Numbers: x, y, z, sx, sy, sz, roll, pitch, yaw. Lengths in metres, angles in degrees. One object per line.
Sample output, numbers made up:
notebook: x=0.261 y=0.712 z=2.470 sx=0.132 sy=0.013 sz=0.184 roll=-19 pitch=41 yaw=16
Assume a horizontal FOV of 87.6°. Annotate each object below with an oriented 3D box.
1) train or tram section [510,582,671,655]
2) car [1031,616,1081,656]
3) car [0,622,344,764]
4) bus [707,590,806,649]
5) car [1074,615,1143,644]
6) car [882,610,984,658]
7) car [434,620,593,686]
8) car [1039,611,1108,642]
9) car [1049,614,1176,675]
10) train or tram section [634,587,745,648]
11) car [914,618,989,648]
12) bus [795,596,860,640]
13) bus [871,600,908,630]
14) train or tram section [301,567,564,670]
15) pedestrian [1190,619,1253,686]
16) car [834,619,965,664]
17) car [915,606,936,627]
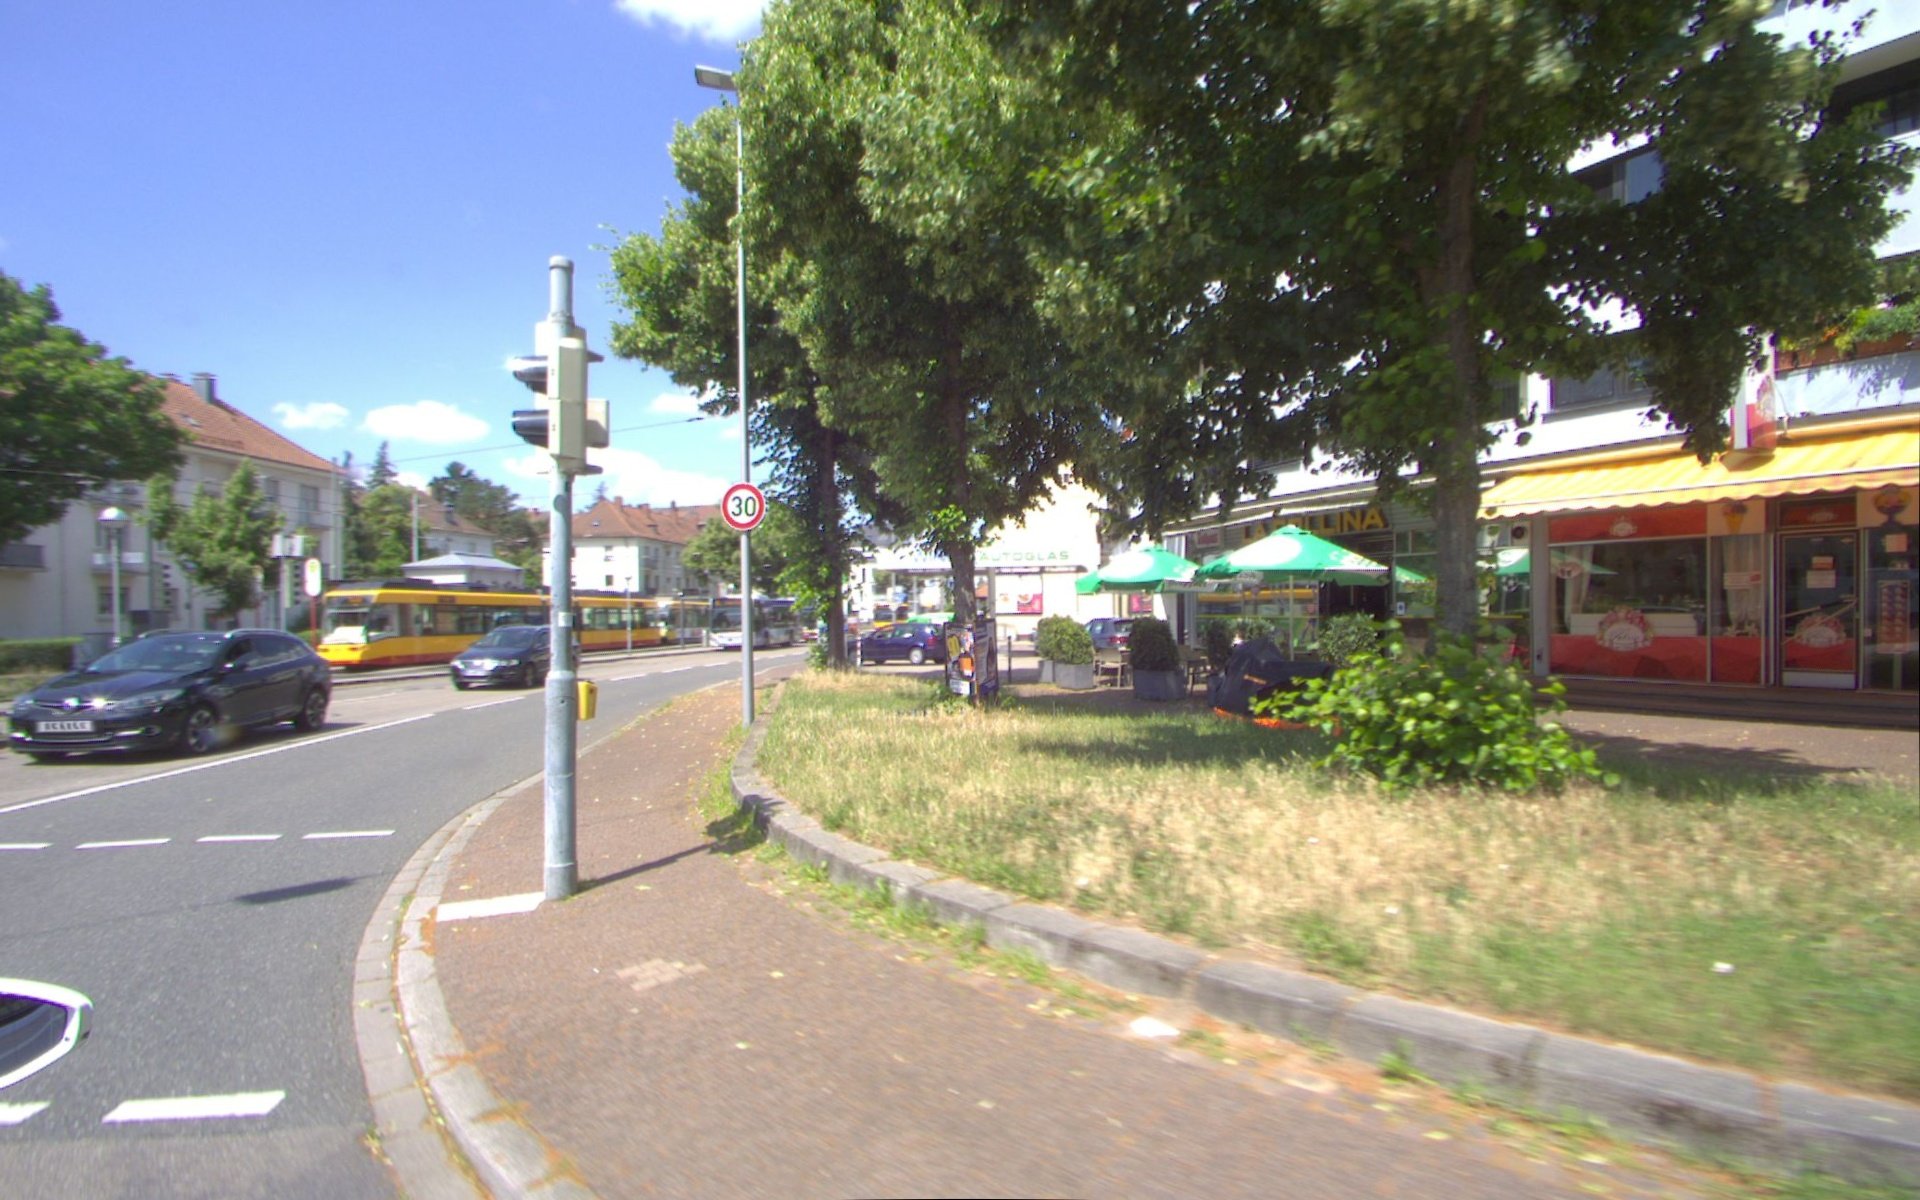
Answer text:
train or tram section: x=-20.480 y=1.082 z=57.081 sx=2.740 sy=3.614 sz=14.707 roll=0 pitch=-1 yaw=4
car: x=4.094 y=1.532 z=43.371 sx=1.975 sy=1.616 sz=4.290 roll=0 pitch=-1 yaw=3
car: x=-10.078 y=1.048 z=12.970 sx=1.962 sy=1.519 sz=4.424 roll=0 pitch=-1 yaw=-8
bus: x=-11.893 y=1.174 z=59.942 sx=2.686 sy=3.169 sz=12.009 roll=0 pitch=-1 yaw=4
car: x=9.719 y=1.921 z=65.948 sx=4.234 sy=1.834 sz=1.999 roll=0 pitch=1 yaw=0
car: x=-1.117 y=1.353 z=39.952 sx=1.824 sy=1.817 sz=3.986 roll=0 pitch=-2 yaw=-44
car: x=-11.243 y=1.293 z=25.592 sx=1.961 sy=1.539 sz=4.513 roll=0 pitch=-1 yaw=1
car: x=7.168 y=1.671 z=63.636 sx=4.234 sy=1.834 sz=1.999 roll=0 pitch=1 yaw=4
car: x=3.830 y=1.128 z=25.986 sx=1.676 sy=1.447 sz=4.359 roll=0 pitch=-2 yaw=-15
train or tram section: x=-19.352 y=1.307 z=73.085 sx=2.740 sy=3.945 sz=15.553 roll=0 pitch=-1 yaw=4
car: x=-0.494 y=1.809 z=54.900 sx=3.867 sy=1.538 sz=1.822 roll=-1 pitch=-1 yaw=-8
bus: x=-10.274 y=1.445 z=79.260 sx=2.686 sy=3.169 sz=12.009 roll=0 pitch=-1 yaw=4
bus: x=-7.971 y=1.754 z=115.017 sx=2.686 sy=3.260 sz=11.050 roll=0 pitch=-1 yaw=4
train or tram section: x=-21.598 y=0.805 z=42.701 sx=2.764 sy=3.614 sz=14.182 roll=0 pitch=-1 yaw=4
pedestrian: x=5.307 y=1.047 z=20.366 sx=0.801 sy=1.322 sz=1.015 roll=0 pitch=-1 yaw=-19
car: x=-2.084 y=1.434 z=34.429 sx=4.107 sy=1.458 sz=1.895 roll=-2 pitch=-1 yaw=27
car: x=-3.516 y=1.684 z=102.194 sx=1.778 sy=2.007 sz=4.001 roll=0 pitch=-1 yaw=3
